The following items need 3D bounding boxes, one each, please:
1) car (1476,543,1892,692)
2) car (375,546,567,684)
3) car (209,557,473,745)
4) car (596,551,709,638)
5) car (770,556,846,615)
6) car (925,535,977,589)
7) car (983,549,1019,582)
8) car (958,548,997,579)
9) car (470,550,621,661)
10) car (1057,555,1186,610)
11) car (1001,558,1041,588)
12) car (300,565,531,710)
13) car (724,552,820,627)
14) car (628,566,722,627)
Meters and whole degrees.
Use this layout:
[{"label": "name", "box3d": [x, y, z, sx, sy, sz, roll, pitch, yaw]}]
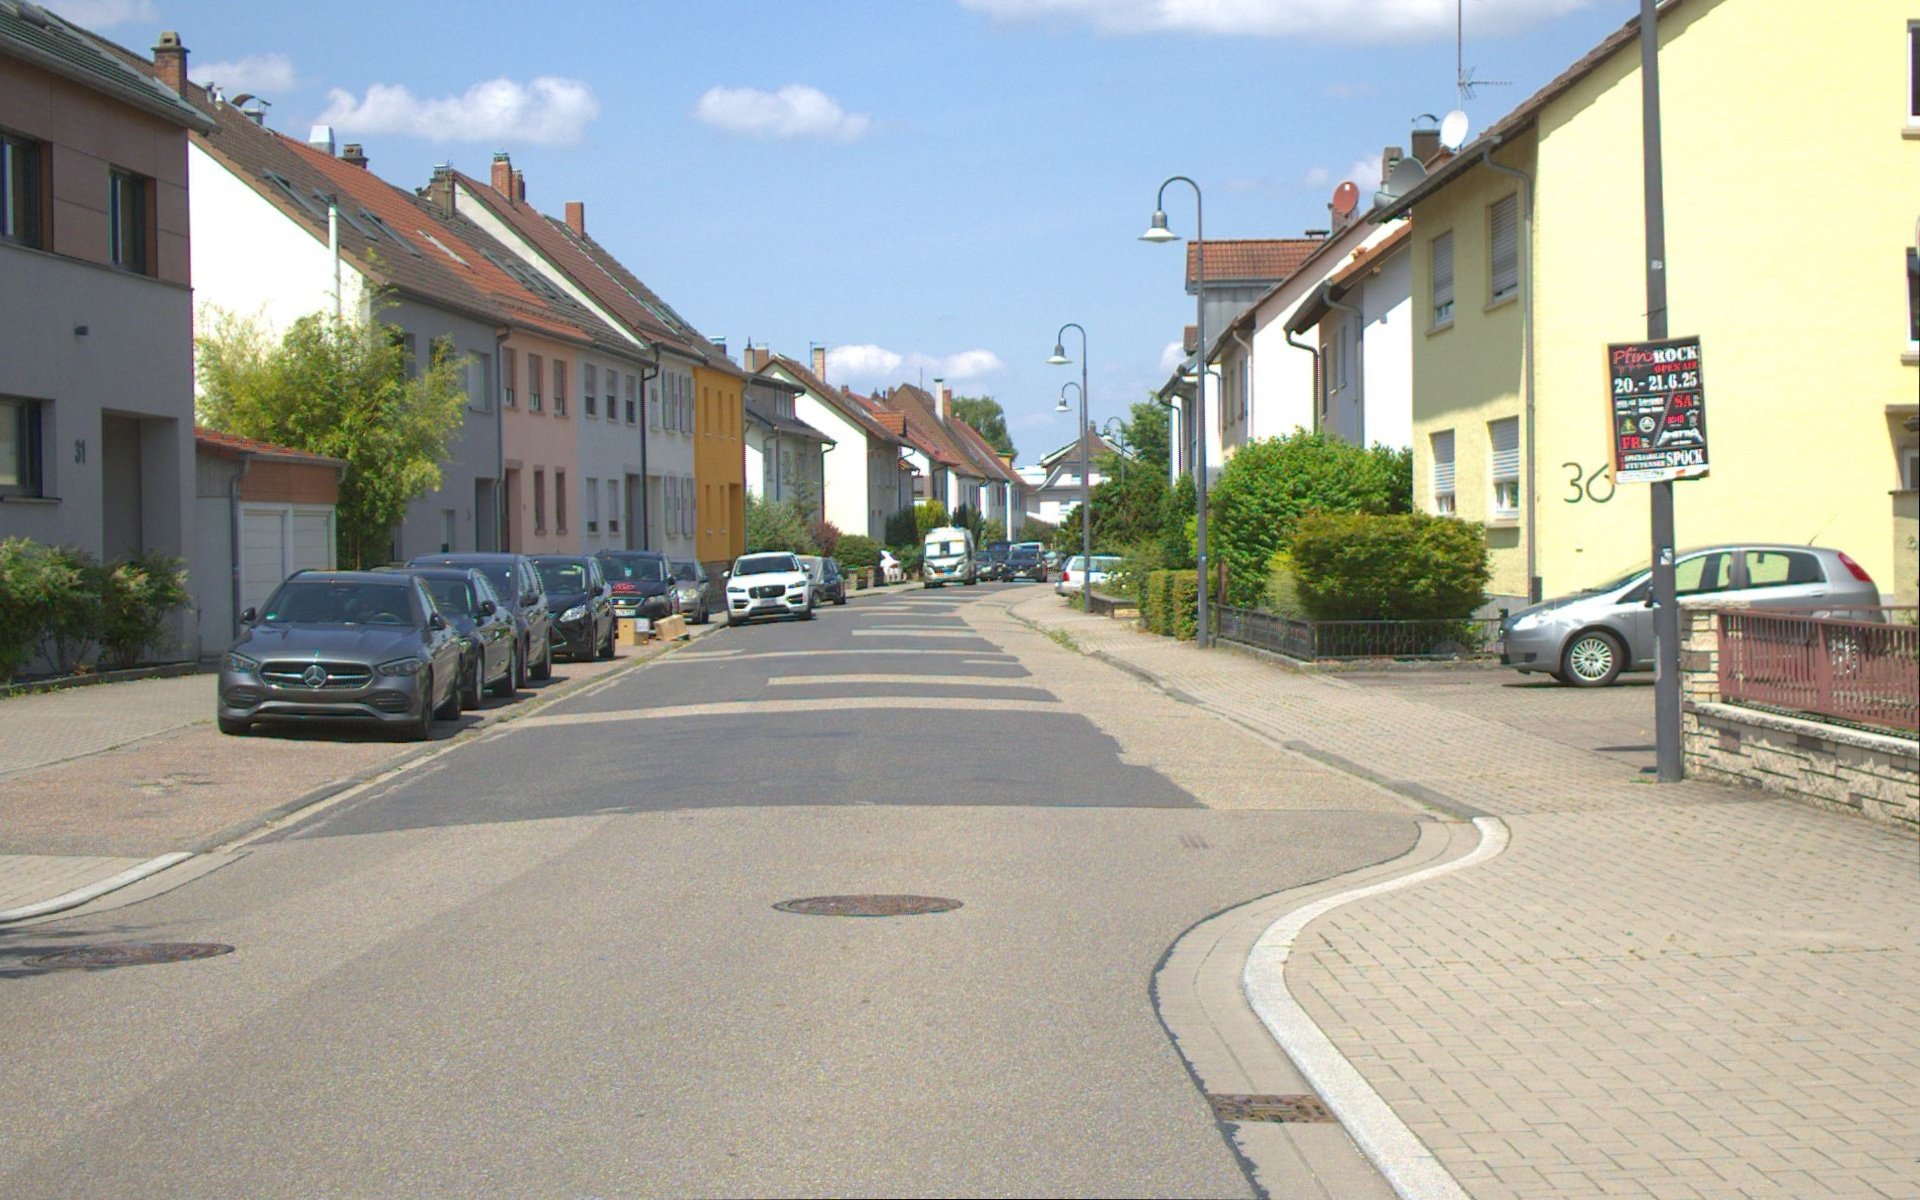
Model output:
[{"label": "car", "box3d": [7.567, 0.168, 36.190, 3.987, 1.468, 1.746, -1, 1, 0]}, {"label": "car", "box3d": [-6.055, 0.154, 42.934, 1.779, 1.603, 4.000, 1, 1, 0]}, {"label": "car", "box3d": [-5.618, 0.417, 31.634, 1.816, 1.428, 4.140, 3, 2, -3]}, {"label": "car", "box3d": [-5.999, -0.126, 67.400, 1.810, 1.603, 4.000, 1, 1, 0]}, {"label": "car", "box3d": [-4.472, -0.444, 101.693, 1.850, 1.653, 4.000, 1, 1, 2]}, {"label": "car", "box3d": [-0.375, -1.651, 150.503, 2.045, 2.304, 3.771, 1, 0, 3]}, {"label": "car", "box3d": [2.166, -1.810, 179.910, 1.691, 1.654, 3.771, 1, 0, 3]}, {"label": "car", "box3d": [0.890, -1.807, 172.440, 1.691, 1.498, 3.771, 1, 0, 3]}, {"label": "car", "box3d": [-6.306, 0.058, 52.618, 1.779, 1.603, 4.000, 1, 1, 0]}, {"label": "car", "box3d": [4.520, -0.493, 96.368, 3.523, 1.459, 1.628, 1, 0, 0]}, {"label": "car", "box3d": [2.800, -1.220, 157.394, 1.691, 1.337, 3.771, 1, 0, 3]}, {"label": "car", "box3d": [-5.832, 0.366, 37.262, 1.816, 1.429, 4.139, 1, 1, 0]}, {"label": "car", "box3d": [-4.376, -0.262, 80.548, 1.850, 1.653, 4.000, 1, 1, 2]}, {"label": "car", "box3d": [-6.576, -0.104, 79.575, 1.672, 1.331, 3.722, 1, 1, 2]}]
